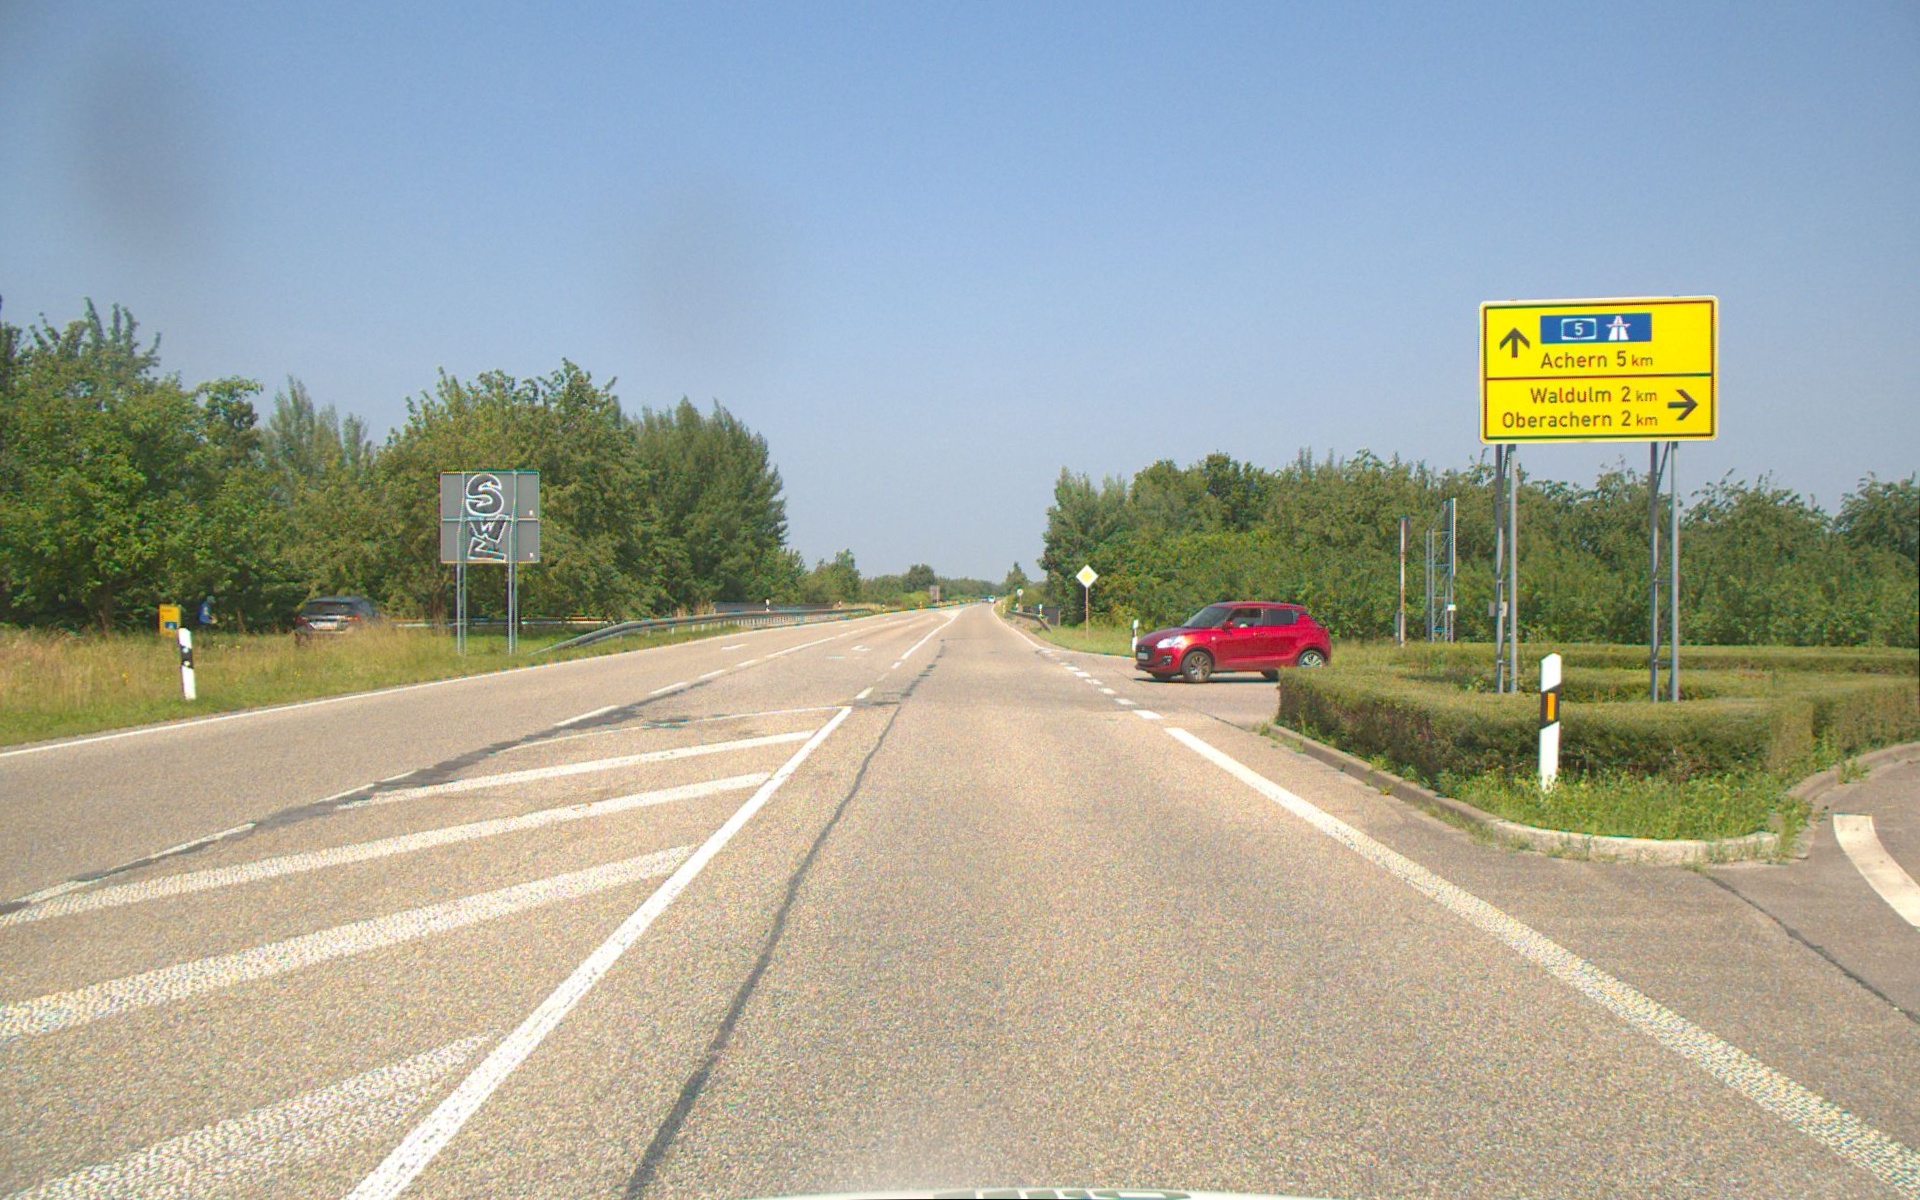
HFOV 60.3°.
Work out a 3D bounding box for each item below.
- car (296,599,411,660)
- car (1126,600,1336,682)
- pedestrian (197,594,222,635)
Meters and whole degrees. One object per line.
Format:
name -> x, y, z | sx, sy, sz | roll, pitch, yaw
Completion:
car -> -15.171, 0.698, 41.548 | 1.671, 1.448, 4.040 | 0, 0, -4
car -> 5.230, 0.786, 32.039 | 3.681, 1.519, 1.664 | 1, 0, -18
pedestrian -> -24.662, 0.473, 54.342 | 0.561, 1.320, 0.556 | 1, 0, 2
